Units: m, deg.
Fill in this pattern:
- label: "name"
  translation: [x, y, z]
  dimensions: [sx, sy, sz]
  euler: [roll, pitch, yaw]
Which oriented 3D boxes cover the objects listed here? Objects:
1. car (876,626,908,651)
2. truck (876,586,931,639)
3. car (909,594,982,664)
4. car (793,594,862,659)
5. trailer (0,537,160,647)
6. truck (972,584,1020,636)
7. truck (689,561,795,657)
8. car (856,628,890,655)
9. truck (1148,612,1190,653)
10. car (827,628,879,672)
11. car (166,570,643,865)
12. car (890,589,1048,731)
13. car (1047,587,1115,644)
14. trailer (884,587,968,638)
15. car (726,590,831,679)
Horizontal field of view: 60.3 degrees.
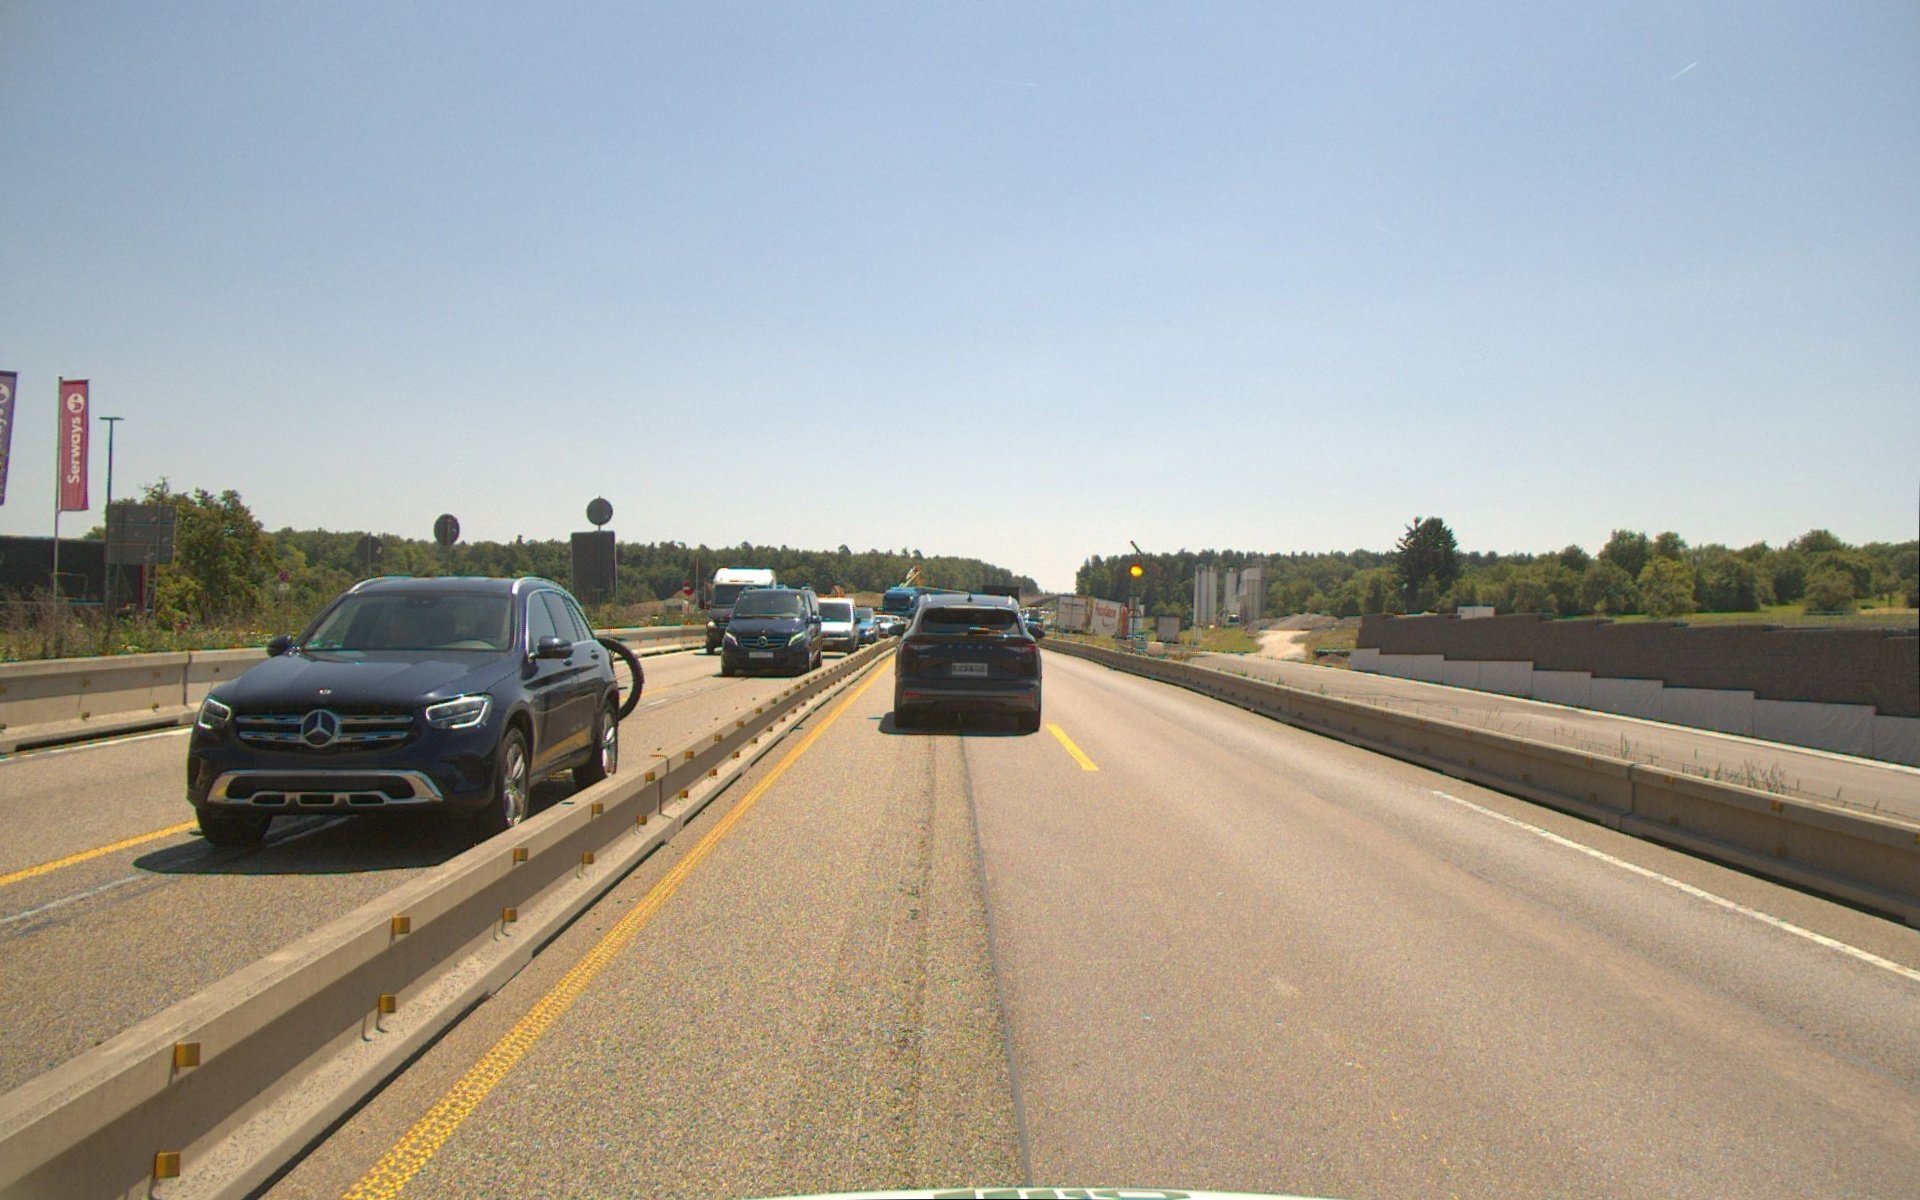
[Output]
- label: "car"
  translation: [-4.455, 2.491, 108.374]
  dimensions: [1.975, 1.470, 4.586]
  euler: [1, 0, -1]
- label: "truck"
  translation: [-4.642, 1.070, 137.533]
  dimensions: [2.852, 4.201, 6.142]
  euler: [1, -1, 15]
- label: "car"
  translation: [-0.474, 0.834, 48.394]
  dimensions: [1.953, 1.876, 3.998]
  euler: [3, -1, -2]
- label: "car"
  translation: [-4.053, 0.786, 51.215]
  dimensions: [1.816, 1.872, 4.590]
  euler: [1, 0, -1]
- label: "trailer"
  translation: [-38.187, -0.316, 64.015]
  dimensions: [3.088, 4.183, 14.150]
  euler: [0, -1, 26]
- label: "truck"
  translation: [2.193, 0.579, 99.279]
  dimensions: [2.617, 2.997, 5.623]
  euler: [1, 0, 4]
- label: "truck"
  translation: [-7.075, 0.307, 54.703]
  dimensions: [2.429, 2.874, 8.127]
  euler: [1, -1, -1]
- label: "car"
  translation: [-4.967, 2.354, 95.064]
  dimensions: [1.779, 1.400, 4.246]
  euler: [-2, 0, -1]
- label: "truck"
  translation: [24.849, 3.884, 196.327]
  dimensions: [3.404, 4.292, 10.383]
  euler: [6, 0, 13]
- label: "car"
  translation: [-4.350, 2.010, 67.604]
  dimensions: [1.866, 1.637, 4.000]
  euler: [1, 0, 0]
- label: "car"
  translation: [-3.566, 0.646, 11.639]
  dimensions: [1.818, 1.631, 4.734]
  euler: [1, 0, -1]
- label: "car"
  translation: [0.105, 0.747, 21.214]
  dimensions: [1.805, 1.609, 3.999]
  euler: [1, -1, 0]
- label: "car"
  translation: [10.244, 1.368, 139.241]
  dimensions: [3.366, 4.171, 9.200]
  euler: [5, -1, 18]
- label: "trailer"
  translation: [-2.768, 1.181, 143.797]
  dimensions: [2.853, 4.201, 13.921]
  euler: [1, -1, 18]
- label: "car"
  translation: [-4.004, 0.698, 37.207]
  dimensions: [1.868, 1.836, 5.081]
  euler: [1, 0, -1]
